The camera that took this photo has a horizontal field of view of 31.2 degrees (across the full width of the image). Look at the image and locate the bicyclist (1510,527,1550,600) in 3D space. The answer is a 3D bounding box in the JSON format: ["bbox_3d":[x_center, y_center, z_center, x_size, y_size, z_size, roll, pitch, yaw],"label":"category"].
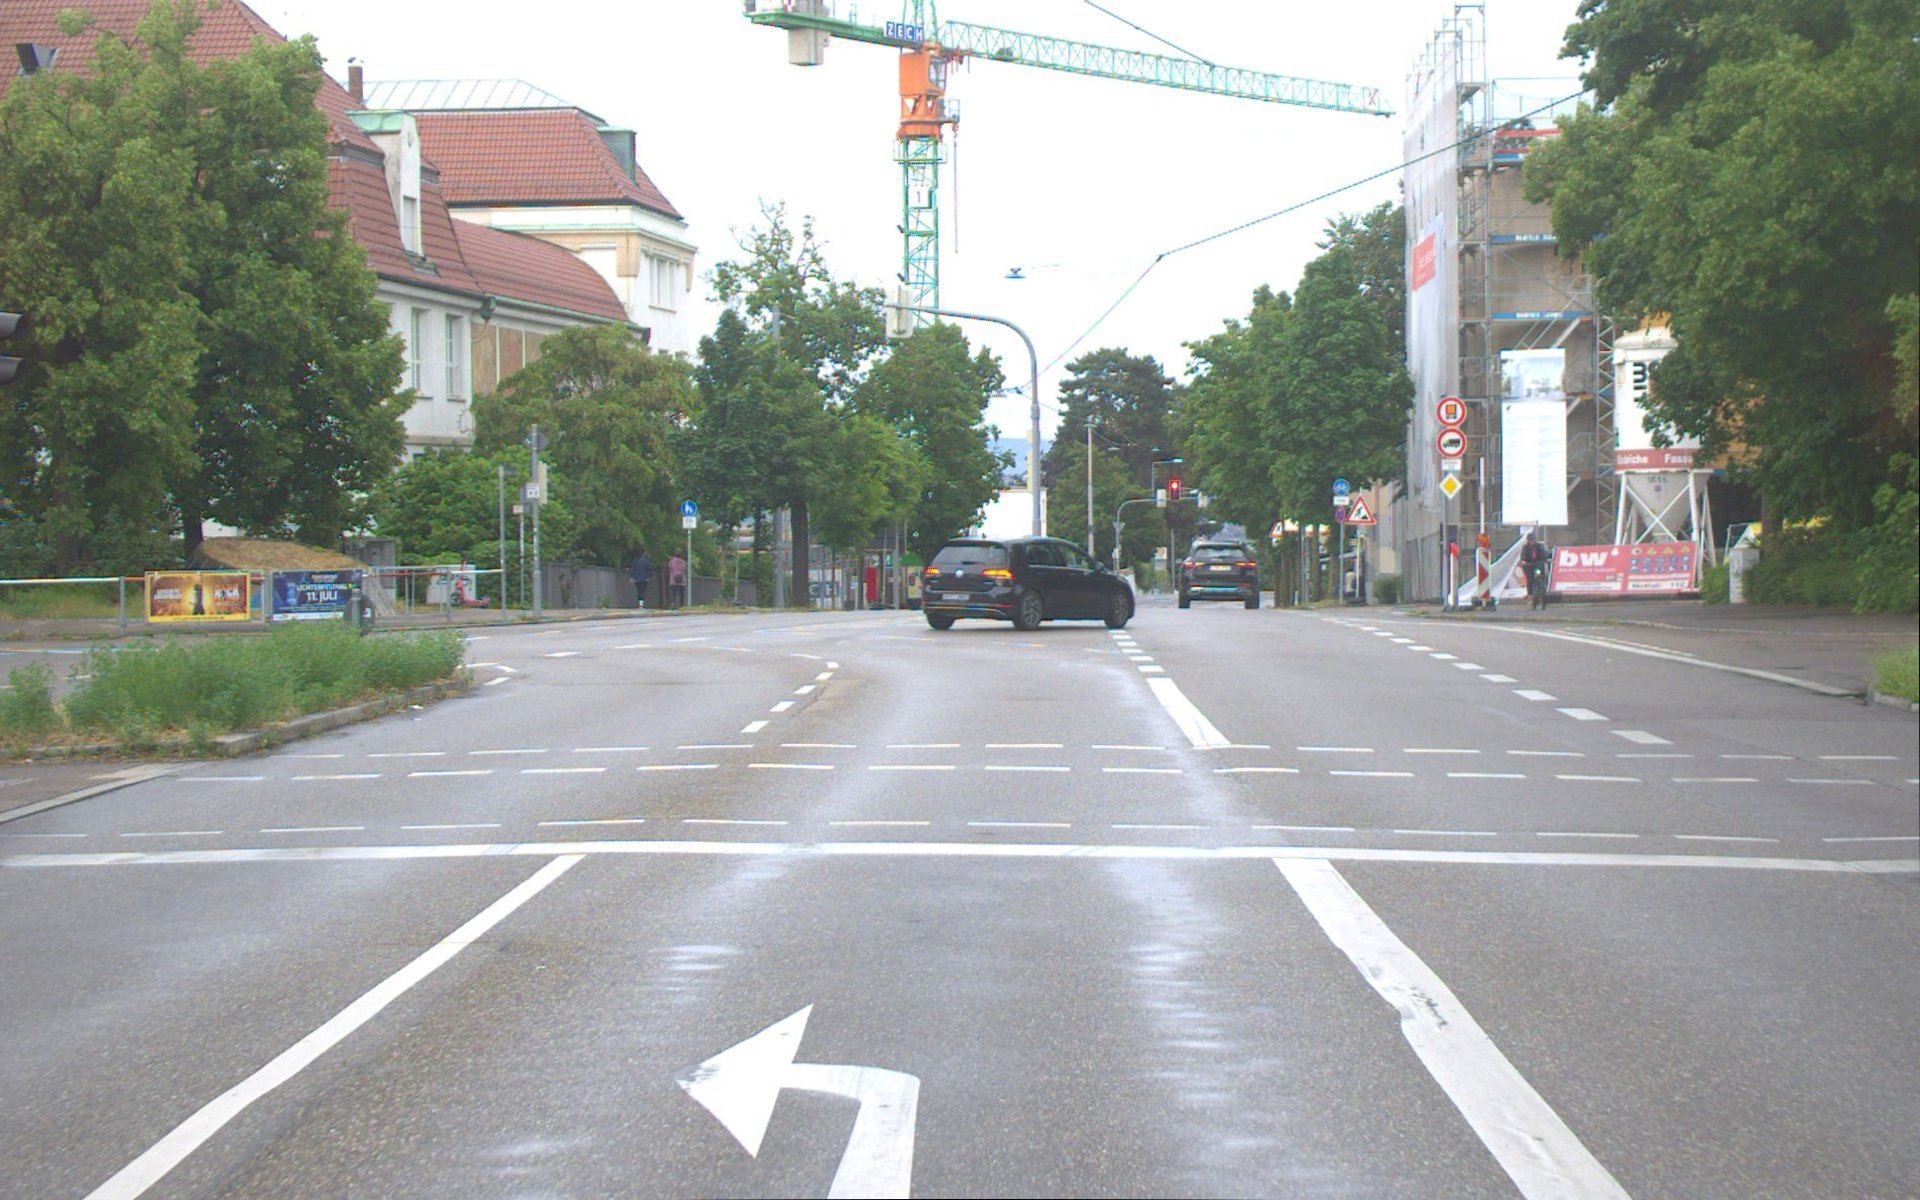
[{"bbox_3d":[12.536,-0.795,75.631,0.720,1.558,1.142,1,0,3],"label":"bicyclist"}]

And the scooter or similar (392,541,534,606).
[{"bbox_3d":[-11.388,-0.611,78.851,3.087,1.435,0.949,-1,1,0],"label":"scooter or similar"}]

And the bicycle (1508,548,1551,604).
[{"bbox_3d":[12.535,-0.524,75.697,0.720,1.189,1.755,1,0,3],"label":"bicycle"}]

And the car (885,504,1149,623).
[{"bbox_3d":[0.910,-0.534,52.523,1.998,1.700,3.991,1,-1,38],"label":"car"}]

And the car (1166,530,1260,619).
[{"bbox_3d":[6.007,-0.587,82.011,1.944,2.014,4.551,1,0,1],"label":"car"}]
